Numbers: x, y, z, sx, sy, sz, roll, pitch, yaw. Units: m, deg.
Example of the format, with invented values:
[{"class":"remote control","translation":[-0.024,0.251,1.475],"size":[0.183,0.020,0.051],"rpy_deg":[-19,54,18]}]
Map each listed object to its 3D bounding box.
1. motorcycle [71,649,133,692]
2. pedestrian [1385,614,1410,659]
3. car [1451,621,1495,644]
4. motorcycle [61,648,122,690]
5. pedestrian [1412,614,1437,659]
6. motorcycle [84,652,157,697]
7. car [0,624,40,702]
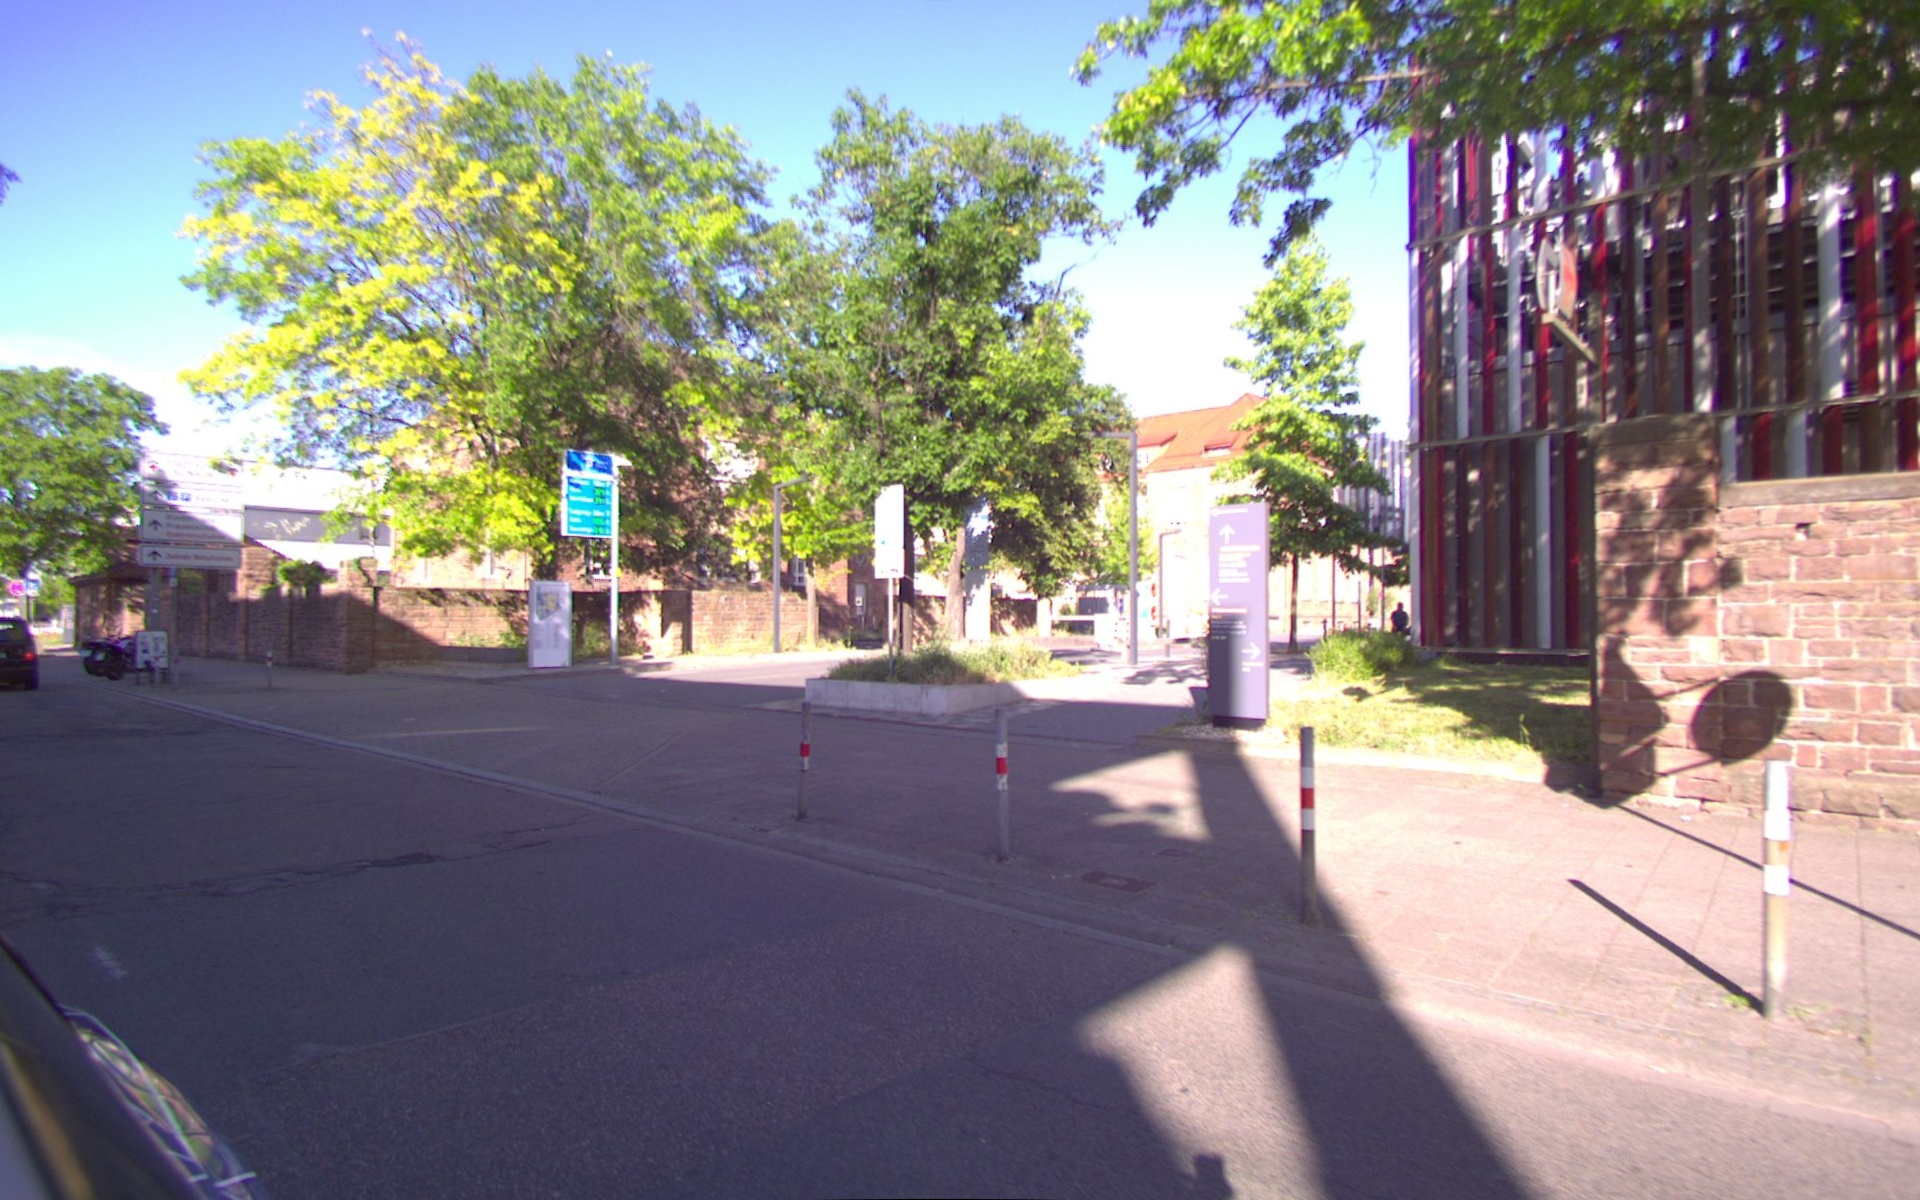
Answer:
[{"class":"motorcycle","translation":[-23.740,1.932,28.032],"size":[0.523,1.047,2.097],"rpy_deg":[-1,0,-17]},{"class":"pedestrian","translation":[13.715,1.143,31.703],"size":[0.609,1.390,0.565],"rpy_deg":[-2,-1,35]},{"class":"car","translation":[33.784,2.119,66.673],"size":[1.738,1.334,3.026],"rpy_deg":[-1,0,45]},{"class":"motorcycle","translation":[-24.882,1.963,29.033],"size":[0.523,1.047,2.097],"rpy_deg":[-1,0,-17]},{"class":"pedestrian","translation":[14.312,1.110,31.172],"size":[0.609,1.363,0.565],"rpy_deg":[-2,-1,35]},{"class":"motorcycle","translation":[-21.564,1.891,26.036],"size":[0.591,1.040,2.133],"rpy_deg":[-1,-1,-14]},{"class":"car","translation":[-21.905,1.349,22.448],"size":[4.017,1.623,1.627],"rpy_deg":[-1,-3,40]}]
